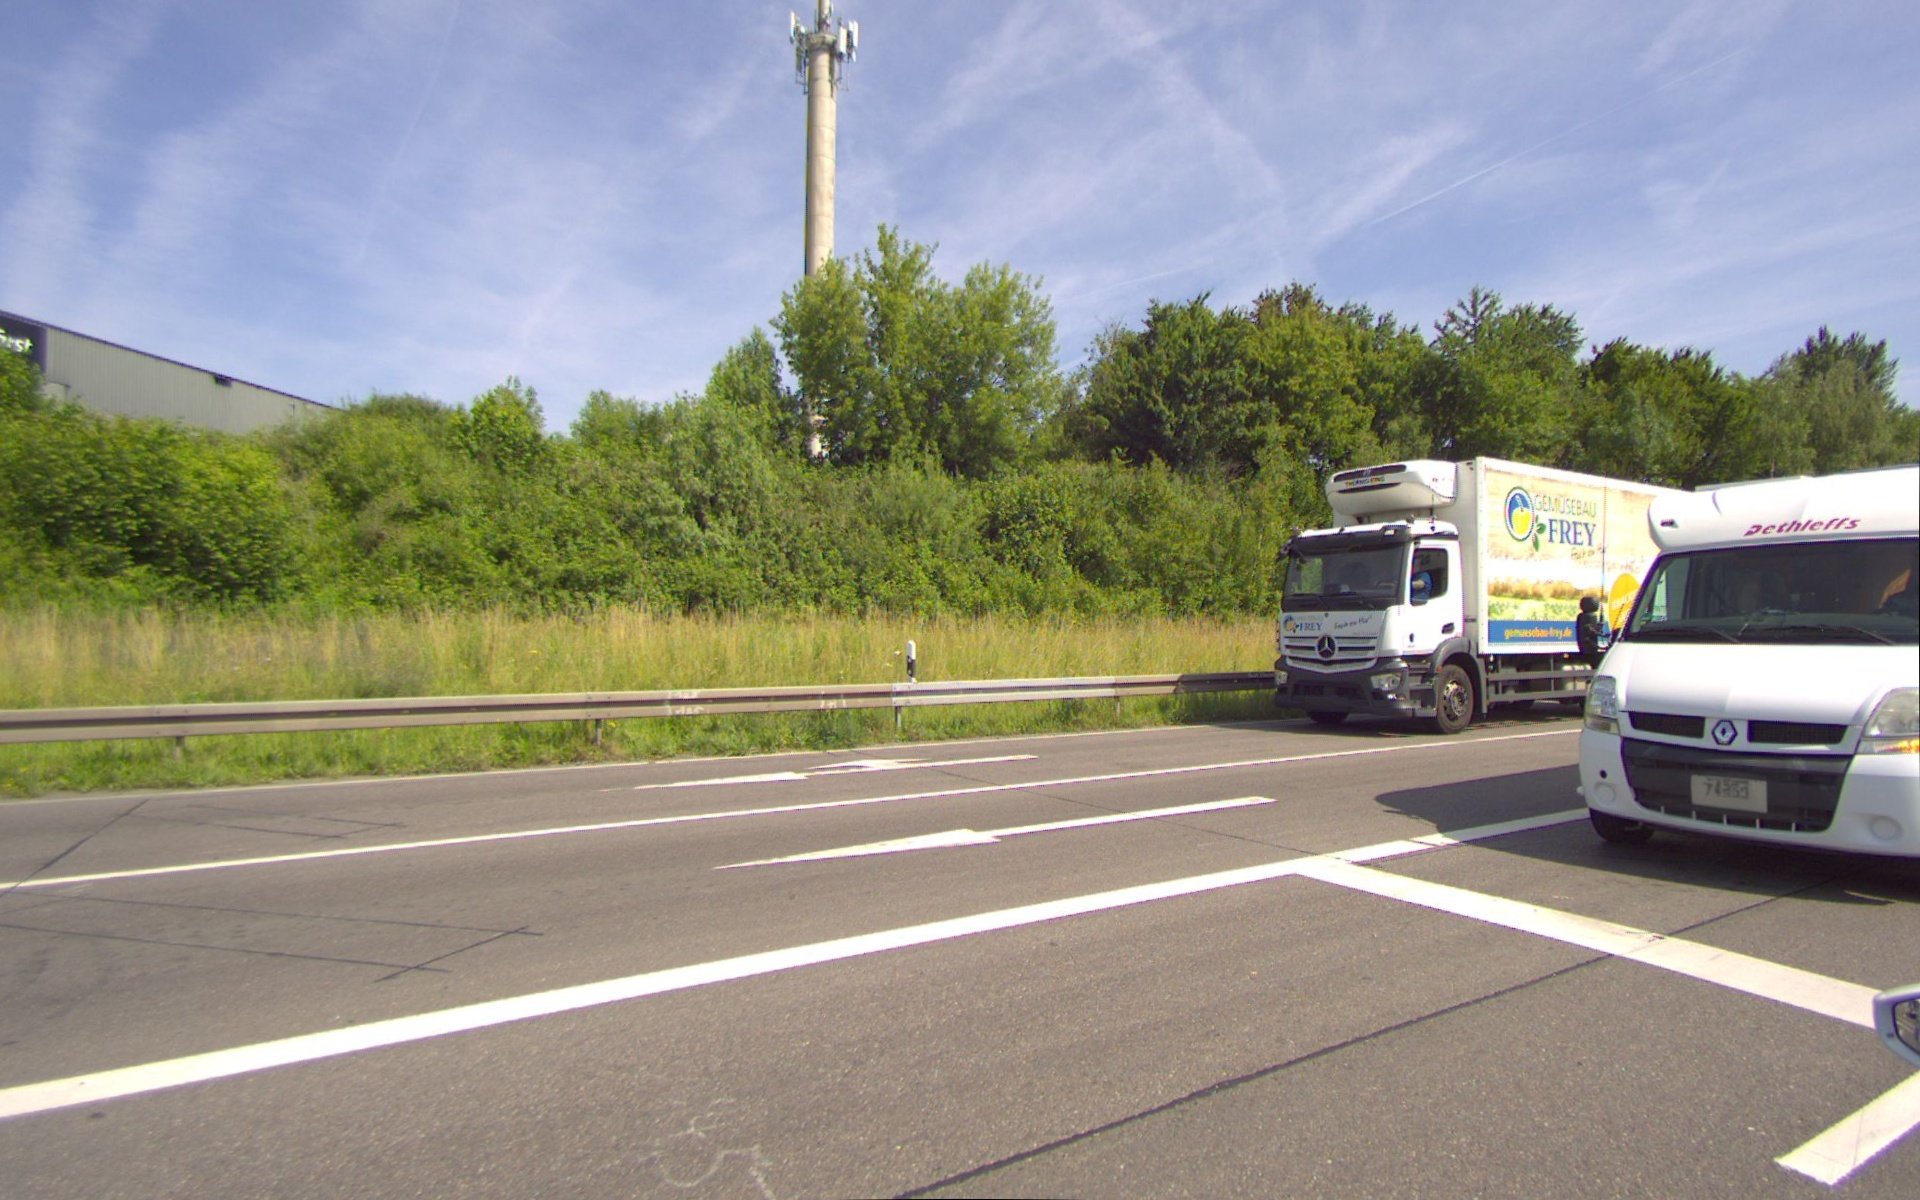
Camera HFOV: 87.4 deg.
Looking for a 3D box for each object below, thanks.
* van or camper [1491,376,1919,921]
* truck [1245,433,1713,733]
[{"bbox_3d":[7.085,0.319,7.511,6.899,2.634,2.319,1,-2,-31],"label":"van or camper"},{"bbox_3d":[9.230,-0.106,17.259,9.513,4.051,2.714,1,-2,-32],"label":"truck"}]
